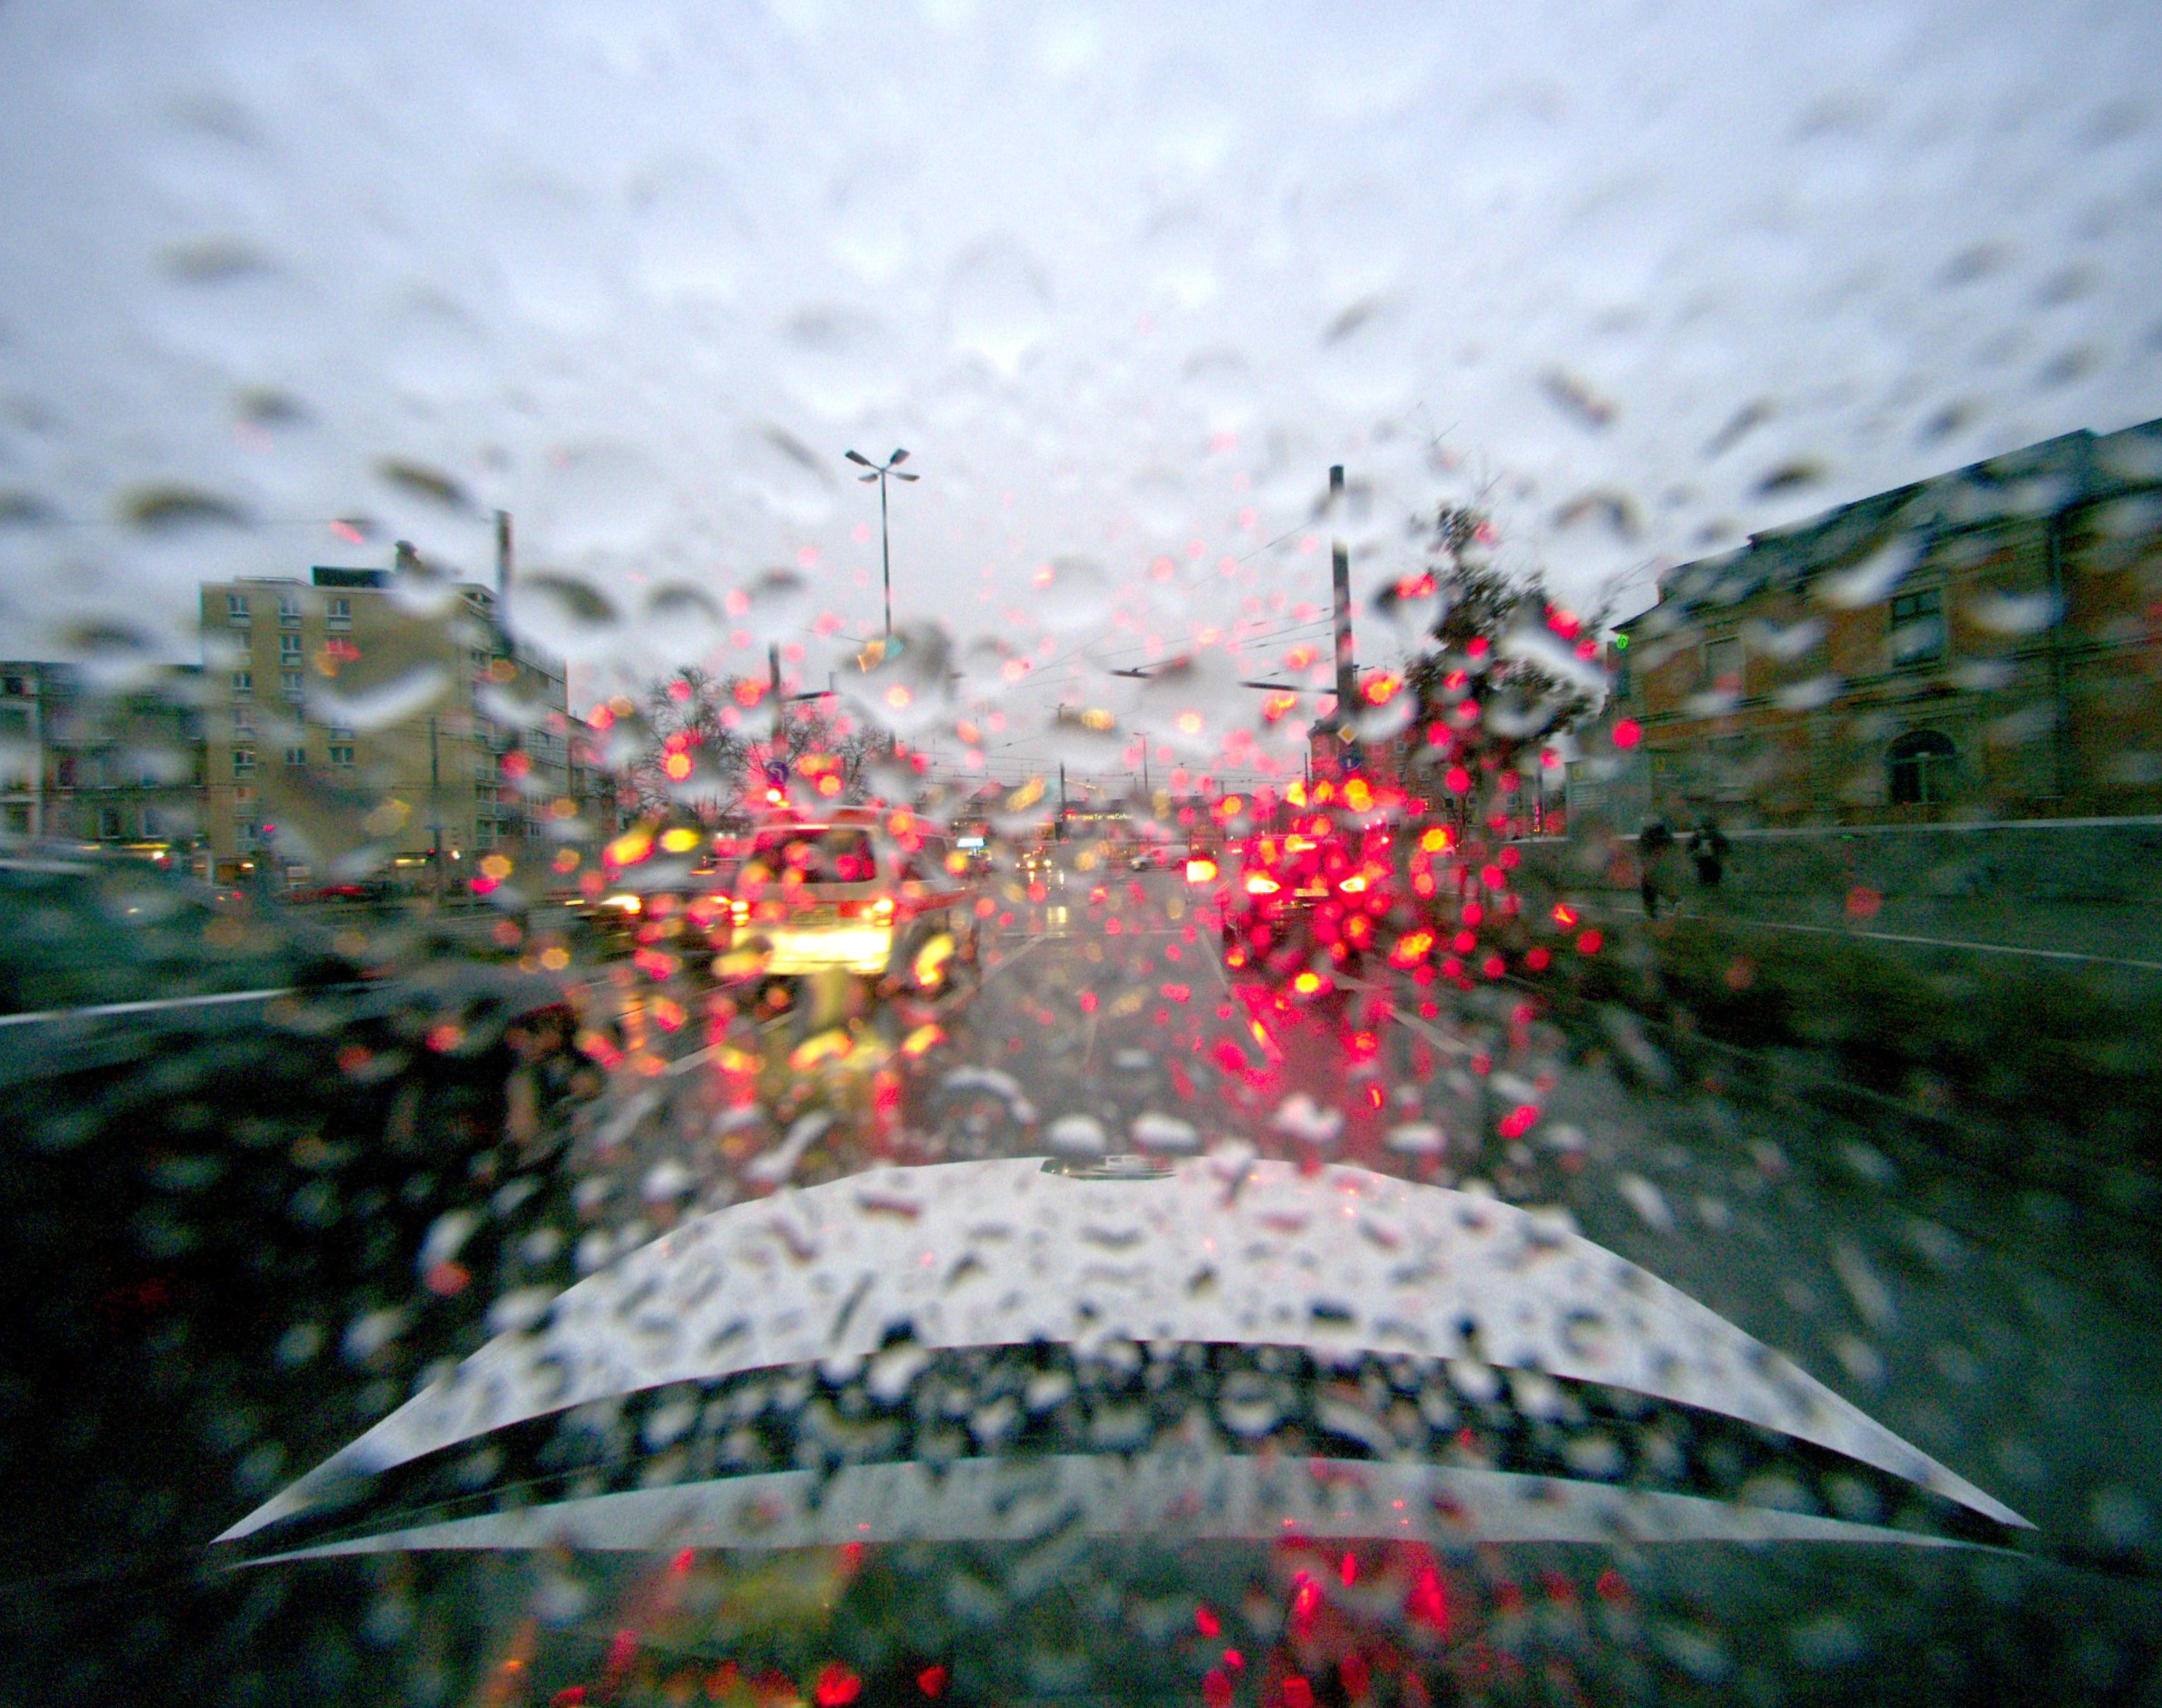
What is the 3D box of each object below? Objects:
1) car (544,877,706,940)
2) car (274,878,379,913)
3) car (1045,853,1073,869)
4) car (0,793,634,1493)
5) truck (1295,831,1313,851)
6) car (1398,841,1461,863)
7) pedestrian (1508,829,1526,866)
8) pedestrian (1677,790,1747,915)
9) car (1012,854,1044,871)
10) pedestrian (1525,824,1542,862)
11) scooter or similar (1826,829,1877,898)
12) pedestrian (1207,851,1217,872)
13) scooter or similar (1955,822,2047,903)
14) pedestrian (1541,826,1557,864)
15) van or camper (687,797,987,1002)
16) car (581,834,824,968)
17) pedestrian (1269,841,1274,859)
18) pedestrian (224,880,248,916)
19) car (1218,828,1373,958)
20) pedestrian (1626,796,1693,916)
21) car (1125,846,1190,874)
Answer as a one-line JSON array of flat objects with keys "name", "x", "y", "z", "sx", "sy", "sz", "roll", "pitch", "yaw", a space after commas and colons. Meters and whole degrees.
[{"name": "car", "x": -12.352, "y": 1.414, "z": 22.480, "sx": 1.800, "sy": 1.419, "sz": 4.820, "roll": -1, "pitch": 0, "yaw": -1}, {"name": "car", "x": -44.306, "y": 2.397, "z": 47.897, "sx": 3.991, "sy": 1.772, "sz": 1.991, "roll": -3, "pitch": 0, "yaw": -13}, {"name": "car", "x": -2.178, "y": 0.672, "z": 82.084, "sx": 1.801, "sy": 1.446, "sz": 4.014, "roll": -3, "pitch": 0, "yaw": 12}, {"name": "car", "x": -3.351, "y": 0.658, "z": 2.112, "sx": 1.779, "sy": 1.601, "sz": 4.542, "roll": 0, "pitch": 0, "yaw": 1}, {"name": "truck", "x": 32.137, "y": -1.815, "z": 117.459, "sx": 1.977, "sy": 2.691, "sz": 5.141, "roll": -3, "pitch": 0, "yaw": 20}, {"name": "car", "x": 29.031, "y": -0.172, "z": 67.791, "sx": 4.810, "sy": 1.657, "sz": 1.730, "roll": -2, "pitch": -1, "yaw": -17}, {"name": "pedestrian", "x": 23.433, "y": -0.368, "z": 43.774, "sx": 0.669, "sy": 1.950, "sz": 0.681, "roll": -3, "pitch": -1, "yaw": 42}, {"name": "pedestrian", "x": 10.494, "y": -0.041, "z": 13.567, "sx": 0.800, "sy": 2.013, "sz": 0.765, "roll": -1, "pitch": 2, "yaw": 27}, {"name": "car", "x": -4.871, "y": 0.759, "z": 75.520, "sx": 1.801, "sy": 1.446, "sz": 4.014, "roll": -3, "pitch": 0, "yaw": 12}, {"name": "pedestrian", "x": 23.744, "y": -0.580, "z": 42.717, "sx": 0.669, "sy": 1.950, "sz": 0.666, "roll": -3, "pitch": -1, "yaw": 31}, {"name": "scooter or similar", "x": 14.169, "y": 0.158, "z": 14.996, "sx": 0.507, "sy": 1.213, "sz": 1.392, "roll": -3, "pitch": -1, "yaw": 38}, {"name": "pedestrian", "x": 11.865, "y": 0.690, "z": 73.715, "sx": 0.595, "sy": 1.840, "sz": 0.613, "roll": -2, "pitch": -1, "yaw": -32}, {"name": "scooter or similar", "x": 14.609, "y": 0.120, "z": 12.970, "sx": 0.508, "sy": 1.213, "sz": 1.391, "roll": -3, "pitch": -1, "yaw": 30}, {"name": "pedestrian", "x": 24.257, "y": -0.450, "z": 42.205, "sx": 0.669, "sy": 1.950, "sz": 0.666, "roll": -3, "pitch": -1, "yaw": 31}, {"name": "van or camper", "x": -2.849, "y": 0.489, "z": 10.987, "sx": 2.192, "sy": 2.109, "sz": 4.993, "roll": -1, "pitch": 0, "yaw": 4}, {"name": "car", "x": -5.764, "y": 0.641, "z": 13.026, "sx": 1.878, "sy": 1.772, "sz": 4.001, "roll": -2, "pitch": 0, "yaw": 1}, {"name": "pedestrian", "x": 21.875, "y": -0.458, "z": 93.536, "sx": 0.341, "sy": 2.013, "sz": 0.420, "roll": -3, "pitch": -1, "yaw": 18}, {"name": "pedestrian", "x": -43.726, "y": 2.282, "z": 42.151, "sx": 0.628, "sy": 1.802, "sz": 0.570, "roll": -2, "pitch": 0, "yaw": -14}, {"name": "car", "x": 3.390, "y": 0.530, "z": 13.683, "sx": 1.769, "sy": 1.800, "sz": 4.431, "roll": -1, "pitch": 0, "yaw": 5}, {"name": "pedestrian", "x": 9.585, "y": 0.017, "z": 13.522, "sx": 0.800, "sy": 1.929, "sz": 0.765, "roll": -1, "pitch": 2, "yaw": 27}, {"name": "car", "x": 5.693, "y": 0.469, "z": 60.736, "sx": 4.407, "sy": 2.014, "sz": 1.902, "roll": 0, "pitch": -4, "yaw": -13}]
